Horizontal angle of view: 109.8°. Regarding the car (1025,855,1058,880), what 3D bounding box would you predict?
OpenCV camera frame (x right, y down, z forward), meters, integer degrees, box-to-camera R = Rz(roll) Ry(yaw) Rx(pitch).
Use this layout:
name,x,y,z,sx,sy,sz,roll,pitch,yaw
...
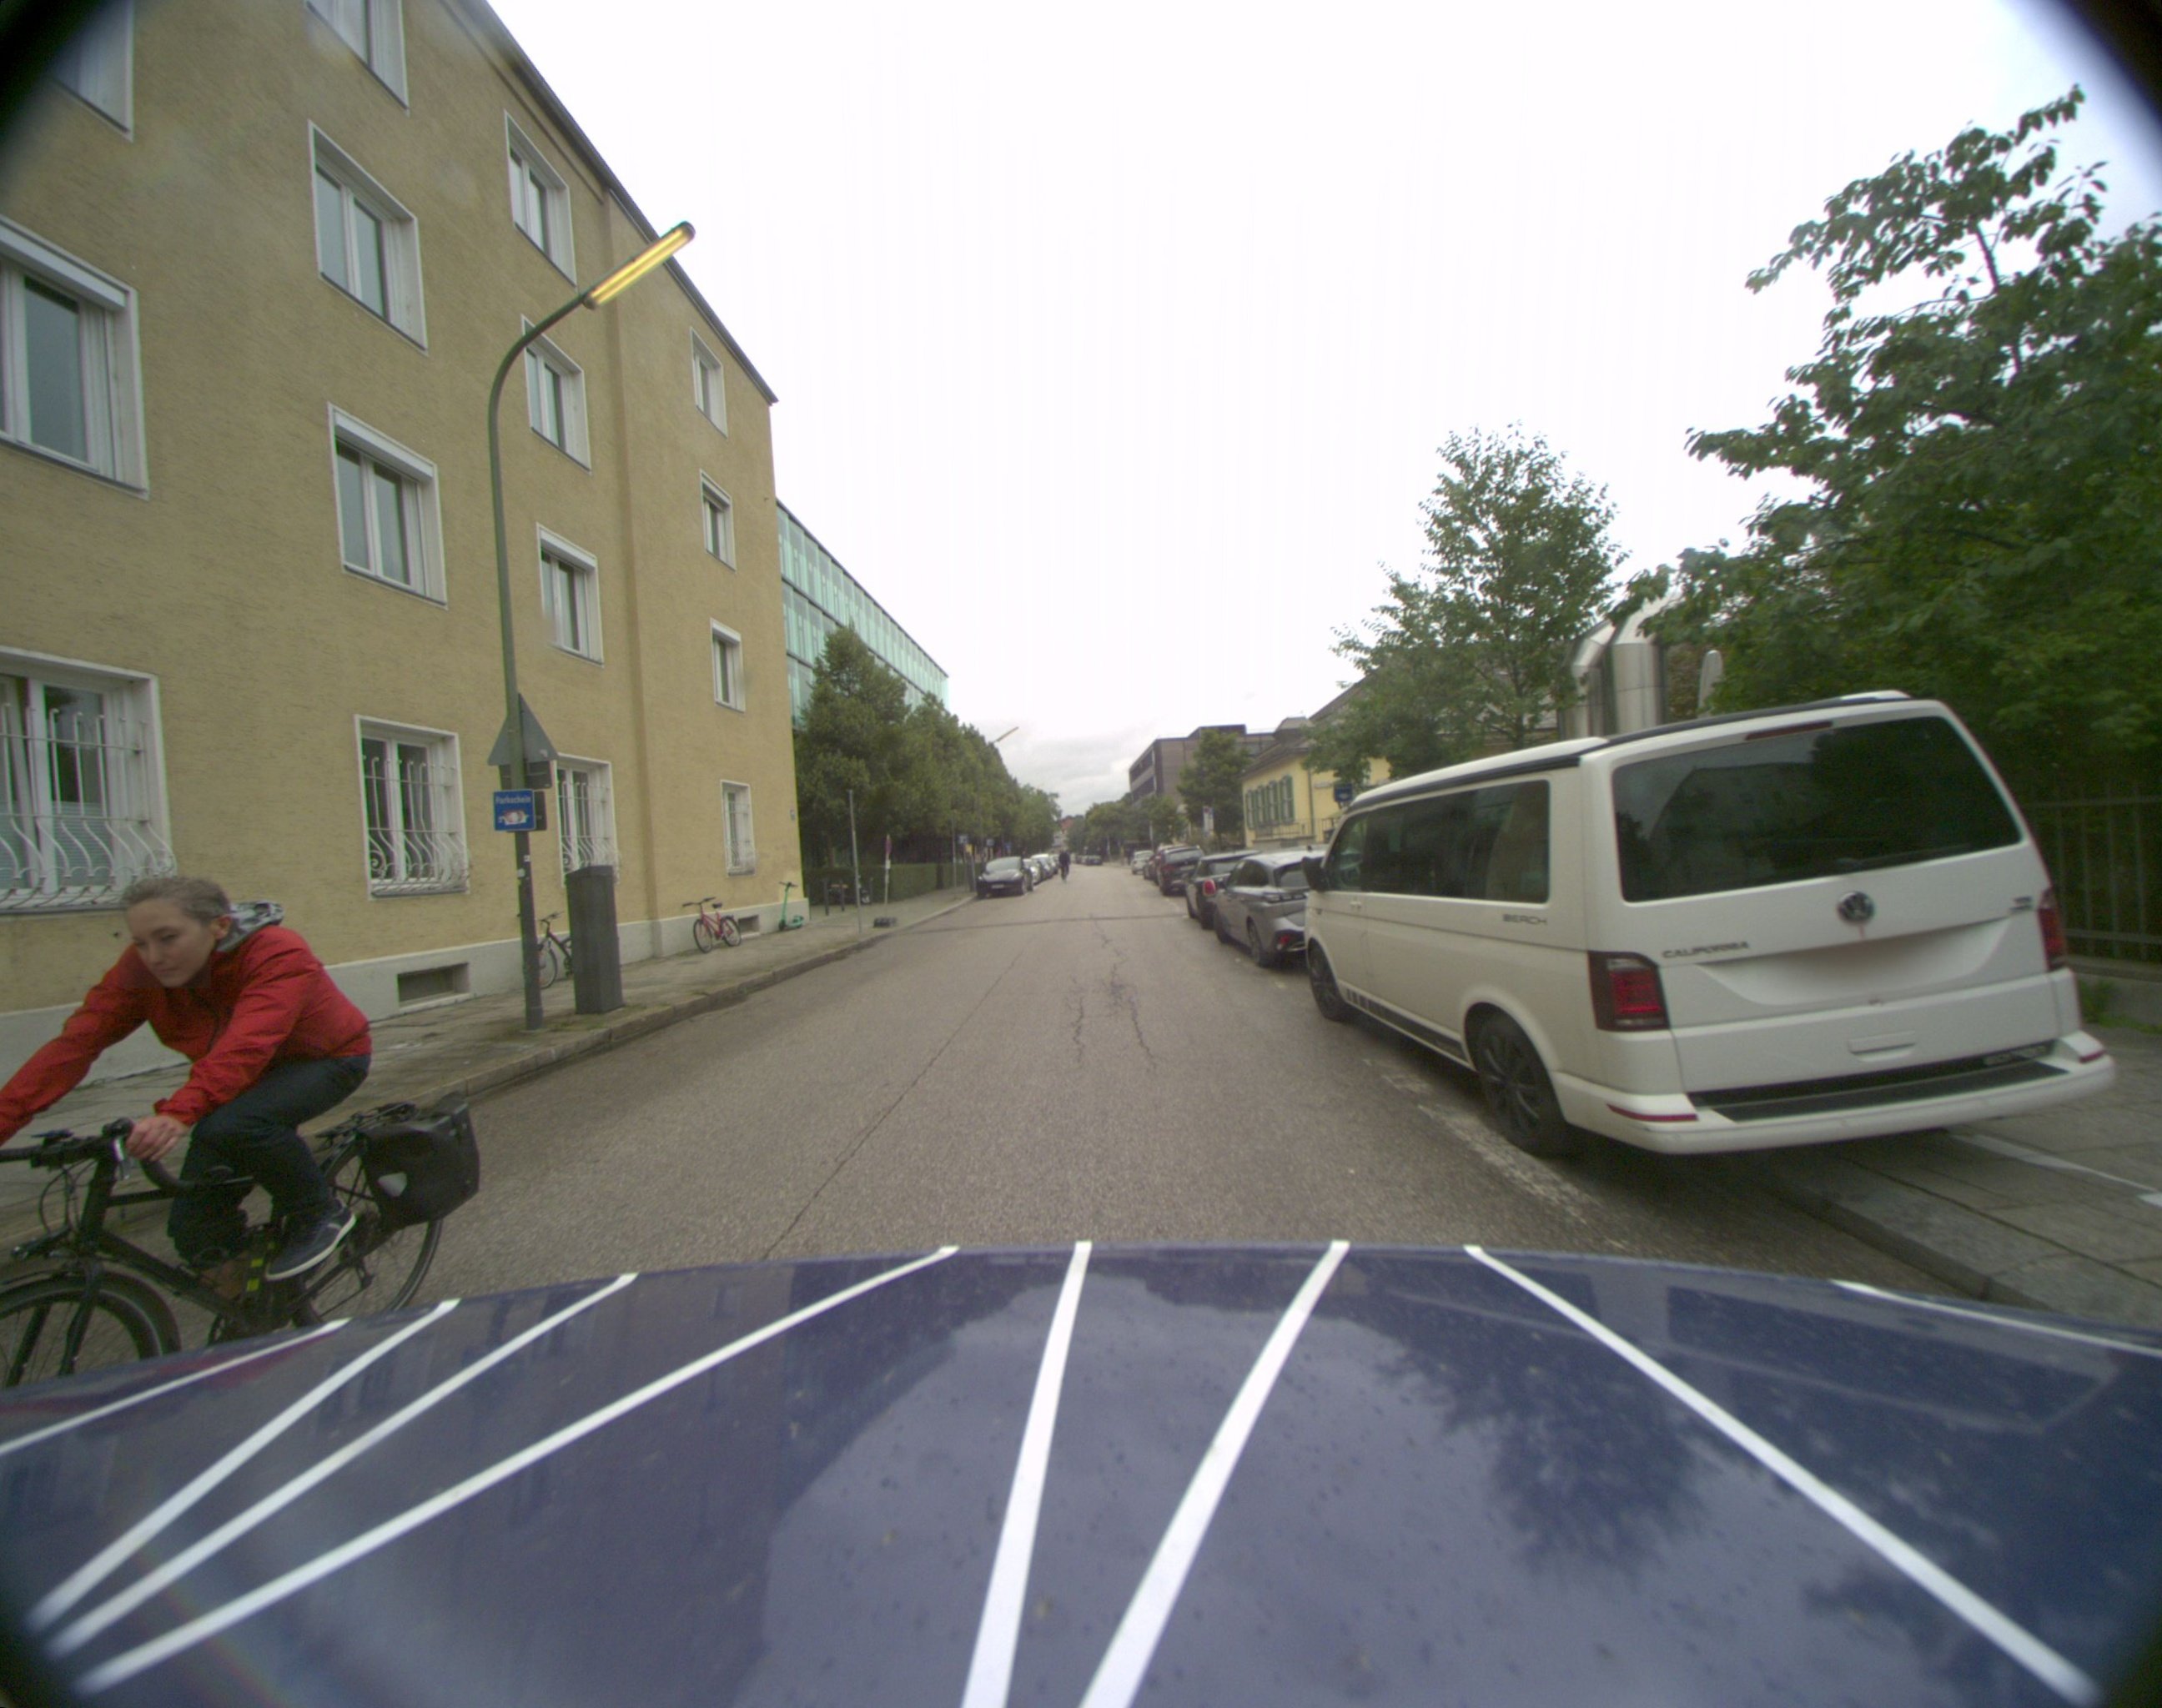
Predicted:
name,x,y,z,sx,sy,sz,roll,pitch,yaw
car,-2.750,0.905,53.702,1.952,1.543,5.004,-5,0,0

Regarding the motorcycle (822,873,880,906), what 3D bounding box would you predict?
name,x,y,z,sx,sy,sz,roll,pitch,yaw
motorcycle,-8.451,1.305,27.941,1.898,1.126,0.708,-1,1,3

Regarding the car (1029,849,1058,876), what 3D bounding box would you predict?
name,x,y,z,sx,sy,sz,roll,pitch,yaw
car,-2.872,0.650,59.583,1.789,1.884,4.574,-5,0,1

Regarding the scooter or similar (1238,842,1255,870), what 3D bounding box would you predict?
name,x,y,z,sx,sy,sz,roll,pitch,yaw
scooter or similar,8.160,0.091,37.491,0.375,1.335,1.355,-3,1,28

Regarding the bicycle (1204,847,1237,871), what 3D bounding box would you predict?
name,x,y,z,sx,sy,sz,roll,pitch,yaw
bicycle,7.465,0.268,40.657,1.633,1.130,0.387,-4,1,0

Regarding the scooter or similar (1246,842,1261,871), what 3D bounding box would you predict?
name,x,y,z,sx,sy,sz,roll,pitch,yaw
scooter or similar,8.215,0.105,36.206,0.363,1.306,1.255,-3,1,26

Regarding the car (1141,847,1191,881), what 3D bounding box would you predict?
name,x,y,z,sx,sy,sz,roll,pitch,yaw
car,4.313,0.475,39.312,1.901,1.510,4.654,-5,0,-1

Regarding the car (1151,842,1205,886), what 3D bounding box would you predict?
name,x,y,z,sx,sy,sz,roll,pitch,yaw
car,4.226,0.385,33.917,1.906,1.682,4.809,-5,0,3

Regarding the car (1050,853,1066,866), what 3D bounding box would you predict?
name,x,y,z,sx,sy,sz,roll,pitch,yaw
car,-3.106,0.740,103.126,1.959,1.494,4.485,-5,0,-3

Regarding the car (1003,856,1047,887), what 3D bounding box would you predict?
name,x,y,z,sx,sy,sz,roll,pitch,yaw
car,-3.065,0.920,42.356,1.999,1.451,4.956,-5,0,0

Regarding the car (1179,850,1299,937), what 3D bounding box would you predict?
name,x,y,z,sx,sy,sz,roll,pitch,yaw
car,3.185,0.723,16.157,1.863,1.536,4.188,-2,1,3

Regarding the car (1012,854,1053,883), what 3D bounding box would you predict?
name,x,y,z,sx,sy,sz,roll,pitch,yaw
car,-3.014,0.880,47.815,1.967,1.543,4.850,-5,0,2

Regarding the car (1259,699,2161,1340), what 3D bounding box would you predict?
name,x,y,z,sx,sy,sz,roll,pitch,yaw
car,2.861,0.531,5.093,1.971,1.979,5.151,-5,0,0

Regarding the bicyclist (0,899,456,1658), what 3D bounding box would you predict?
name,x,y,z,sx,sy,sz,roll,pitch,yaw
bicyclist,-2.504,0.919,2.011,0.756,1.474,0.981,-5,1,-2

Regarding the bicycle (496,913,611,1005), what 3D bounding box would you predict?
name,x,y,z,sx,sy,sz,roll,pitch,yaw
bicycle,-7.641,1.479,11.102,0.343,1.076,1.813,-1,1,2

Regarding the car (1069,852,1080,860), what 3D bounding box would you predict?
name,x,y,z,sx,sy,sz,roll,pitch,yaw
car,-1.341,0.432,161.103,1.999,1.510,3.999,-5,0,-3

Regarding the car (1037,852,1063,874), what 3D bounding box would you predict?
name,x,y,z,sx,sy,sz,roll,pitch,yaw
car,-2.627,0.728,65.618,1.872,1.682,4.784,-5,0,0

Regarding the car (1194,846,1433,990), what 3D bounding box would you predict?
name,x,y,z,sx,sy,sz,roll,pitch,yaw
car,3.020,0.730,11.069,1.892,1.535,4.695,-4,0,-1

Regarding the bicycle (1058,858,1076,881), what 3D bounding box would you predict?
name,x,y,z,sx,sy,sz,roll,pitch,yaw
bicycle,-0.762,0.867,42.035,0.720,1.199,1.802,-5,-1,4

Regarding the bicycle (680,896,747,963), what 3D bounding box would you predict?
name,x,y,z,sx,sy,sz,roll,pitch,yaw
bicycle,-7.194,1.446,14.949,0.343,1.129,1.759,-3,0,2

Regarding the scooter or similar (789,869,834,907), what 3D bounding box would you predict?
name,x,y,z,sx,sy,sz,roll,pitch,yaw
scooter or similar,-9.965,1.253,28.113,1.351,1.295,0.670,-2,3,-2

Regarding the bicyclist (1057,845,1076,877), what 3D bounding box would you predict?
name,x,y,z,sx,sy,sz,roll,pitch,yaw
bicyclist,-0.799,0.390,42.055,0.780,1.657,1.035,-5,0,4

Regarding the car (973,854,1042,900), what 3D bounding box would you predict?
name,x,y,z,sx,sy,sz,roll,pitch,yaw
car,-3.061,0.909,32.813,1.998,1.621,5.100,-5,0,4

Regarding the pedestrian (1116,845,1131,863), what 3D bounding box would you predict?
name,x,y,z,sx,sy,sz,roll,pitch,yaw
pedestrian,4.971,0.039,89.186,1.480,2.002,1.500,-5,1,-3

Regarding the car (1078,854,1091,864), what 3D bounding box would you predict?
name,x,y,z,sx,sy,sz,roll,pitch,yaw
car,0.642,0.881,136.863,1.999,1.510,3.999,-5,0,-3

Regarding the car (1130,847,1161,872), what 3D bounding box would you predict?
name,x,y,z,sx,sy,sz,roll,pitch,yaw
car,4.361,0.364,51.651,1.729,1.483,4.461,-5,0,1

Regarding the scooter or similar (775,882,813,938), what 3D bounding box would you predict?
name,x,y,z,sx,sy,sz,roll,pitch,yaw
scooter or similar,-7.057,1.358,18.730,0.343,1.248,1.309,-2,1,2

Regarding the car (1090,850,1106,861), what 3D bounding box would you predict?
name,x,y,z,sx,sy,sz,roll,pitch,yaw
car,2.408,0.209,107.489,1.929,1.390,4.485,-3,0,-3

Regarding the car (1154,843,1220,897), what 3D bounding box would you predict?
name,x,y,z,sx,sy,sz,roll,pitch,yaw
car,3.656,0.488,27.019,1.849,1.598,4.743,-5,0,4

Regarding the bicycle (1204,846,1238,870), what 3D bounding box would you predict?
name,x,y,z,sx,sy,sz,roll,pitch,yaw
bicycle,7.578,0.221,41.031,1.705,1.165,0.352,-4,1,0

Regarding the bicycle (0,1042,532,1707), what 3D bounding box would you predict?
name,x,y,z,sx,sy,sz,roll,pitch,yaw
bicycle,-2.488,1.326,1.931,0.674,1.135,2.010,-5,1,-2
